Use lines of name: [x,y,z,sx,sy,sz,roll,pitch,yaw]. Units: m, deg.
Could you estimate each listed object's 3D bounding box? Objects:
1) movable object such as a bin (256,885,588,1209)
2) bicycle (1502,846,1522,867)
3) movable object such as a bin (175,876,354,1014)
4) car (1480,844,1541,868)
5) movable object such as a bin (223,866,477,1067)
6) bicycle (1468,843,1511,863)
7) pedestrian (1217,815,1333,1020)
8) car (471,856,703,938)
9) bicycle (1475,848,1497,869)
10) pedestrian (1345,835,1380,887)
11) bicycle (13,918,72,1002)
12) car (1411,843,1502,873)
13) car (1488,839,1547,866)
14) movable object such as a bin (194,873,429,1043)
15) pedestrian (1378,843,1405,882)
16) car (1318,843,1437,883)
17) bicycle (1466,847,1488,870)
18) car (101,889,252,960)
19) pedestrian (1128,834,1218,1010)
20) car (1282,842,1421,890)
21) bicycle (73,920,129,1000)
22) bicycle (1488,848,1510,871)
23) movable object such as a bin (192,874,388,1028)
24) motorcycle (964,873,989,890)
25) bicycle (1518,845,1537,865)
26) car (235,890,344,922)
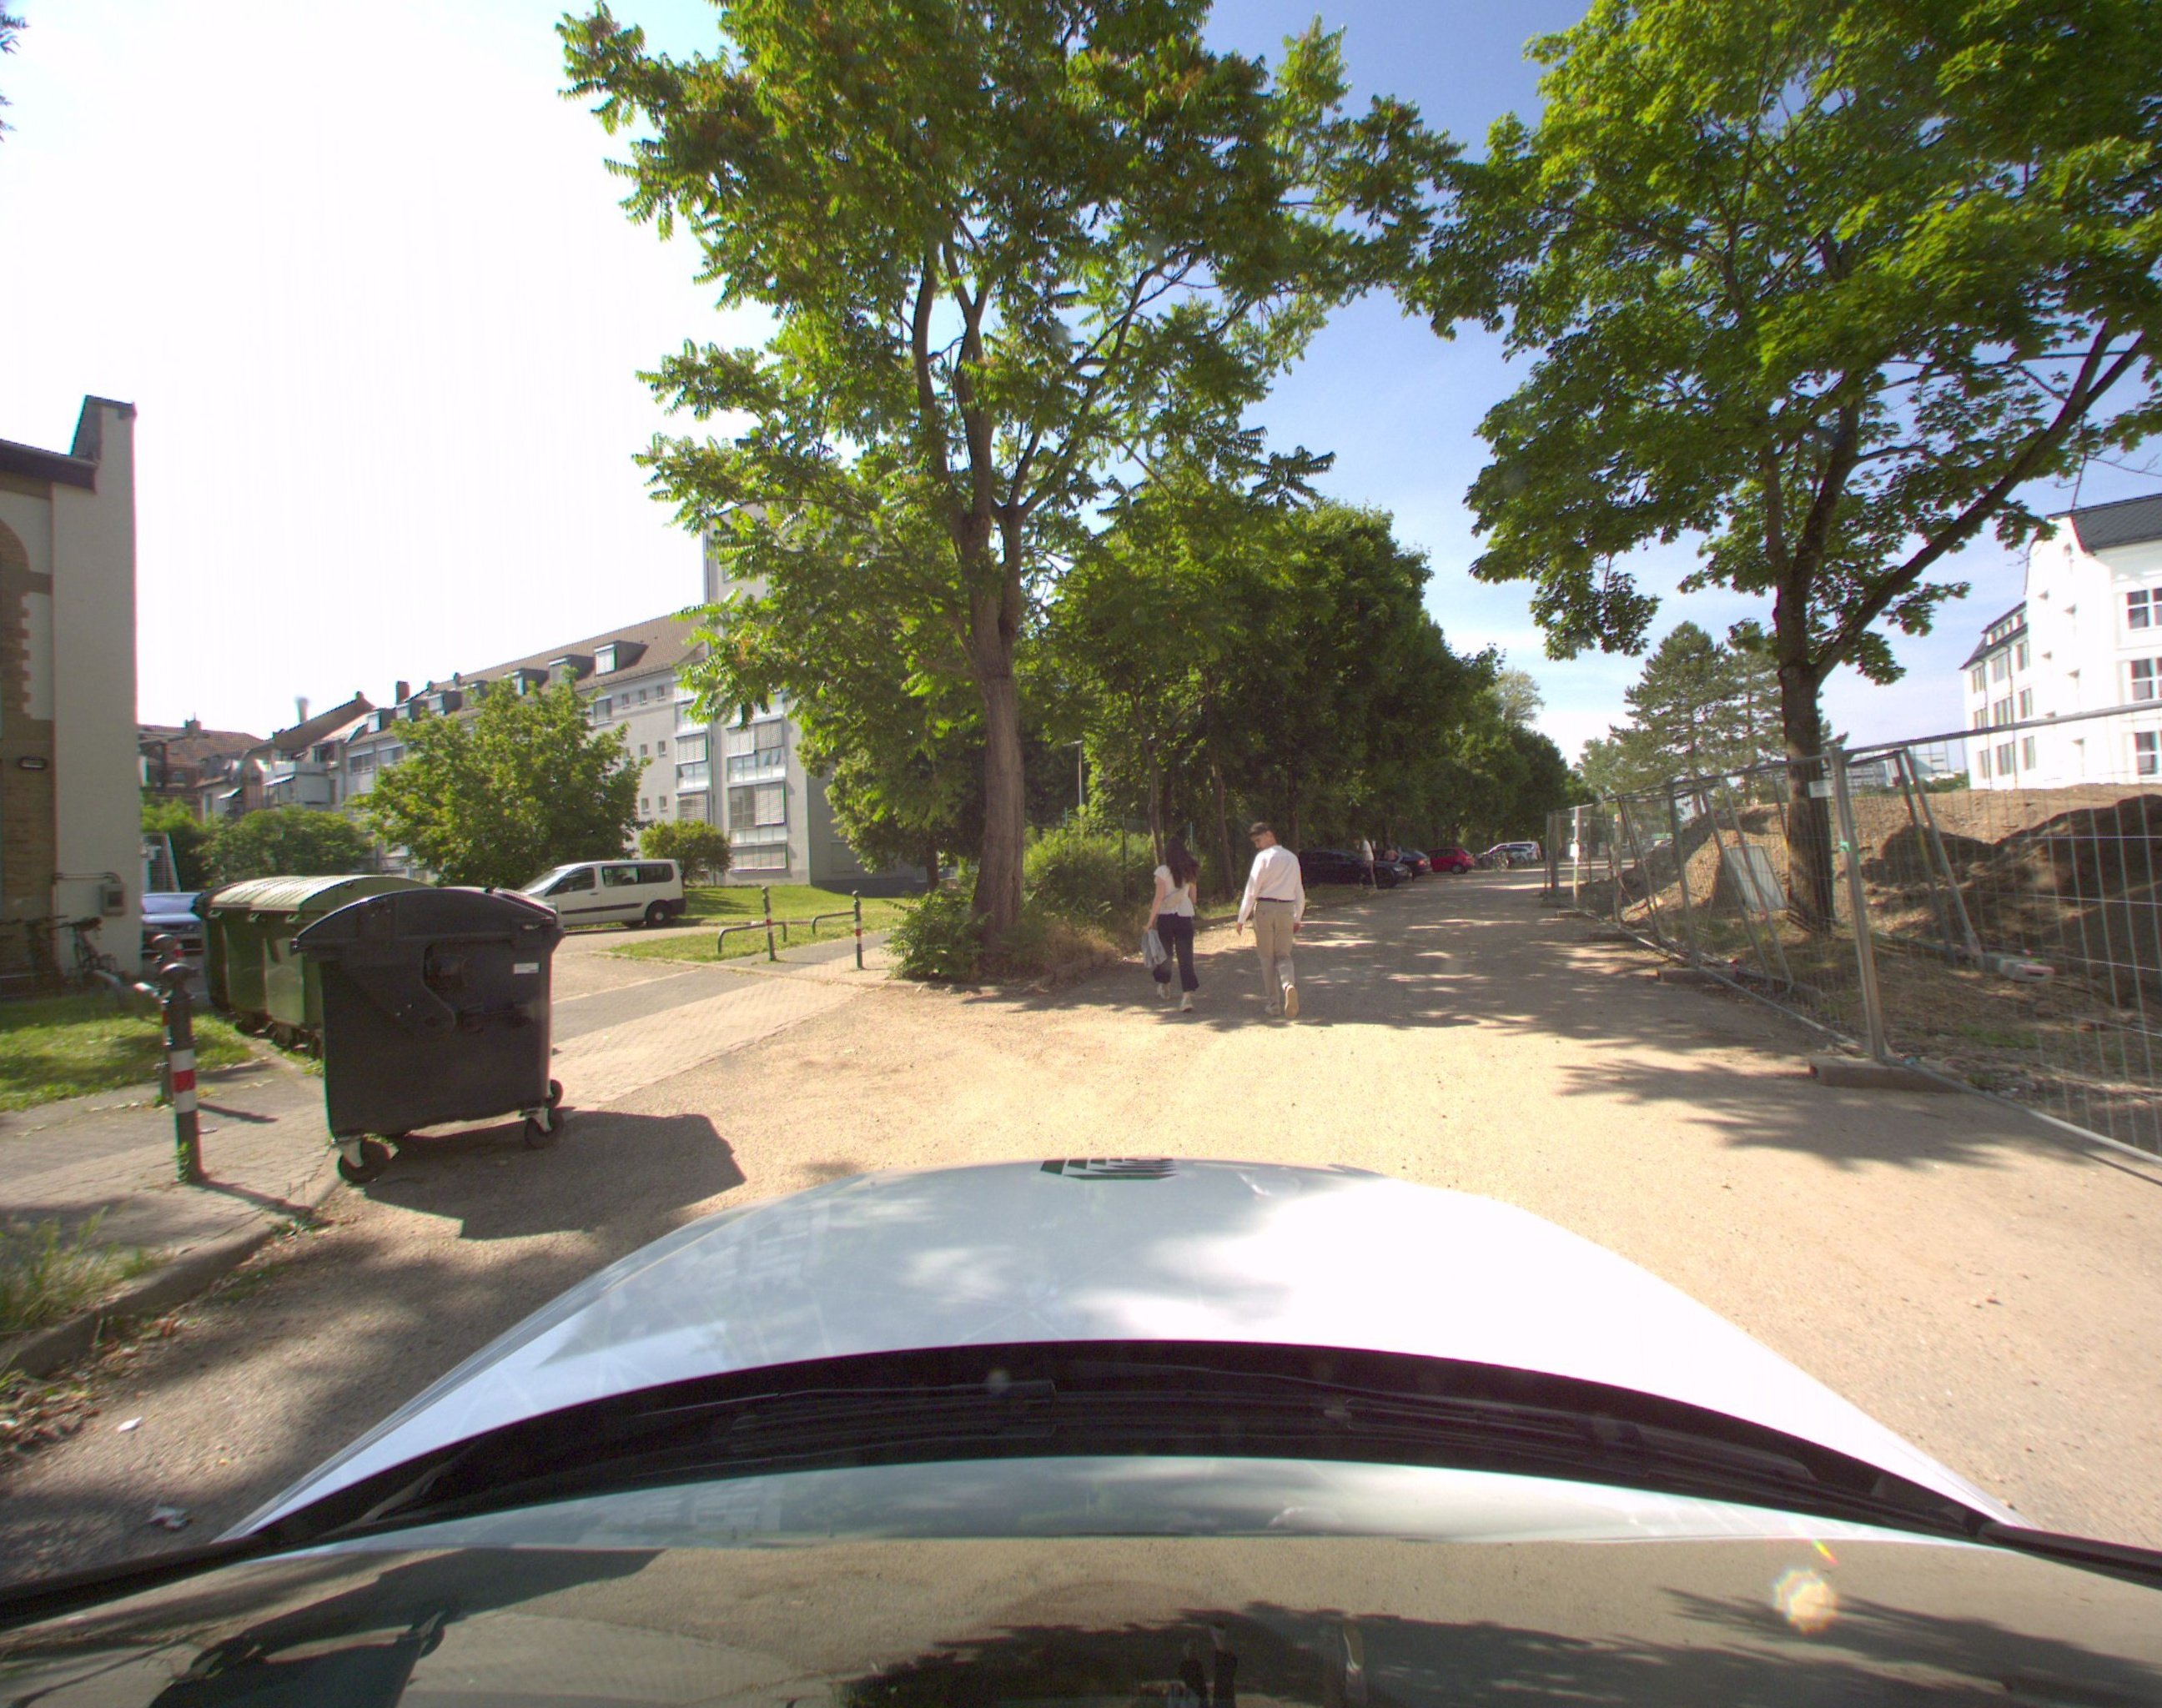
movable object such as a bin: [-3.613,0.908,4.617,1.254,1.397,1.388,-2,-1,-36]
bicycle: [26.983,0.157,50.969,0.707,1.284,2.654,-2,0,35]
movable object such as a bin: [-9.630,1.015,9.619,1.332,1.431,1.256,-3,-1,35]
car: [33.478,0.148,63.526,3.948,1.772,1.779,-2,0,38]
movable object such as a bin: [-6.267,0.879,7.020,1.322,1.481,1.256,-3,-1,30]
bicycle: [28.909,-0.073,57.611,2.649,1.284,0.824,-2,-1,29]
pedestrian: [1.738,0.541,7.428,0.753,1.728,0.853,-2,0,-5]
car: [-13.486,1.085,22.558,1.974,1.933,5.073,-3,-1,37]
bicycle: [26.318,0.284,52.930,0.808,1.284,2.701,-2,0,35]
pedestrian: [9.918,0.250,28.658,1.004,1.781,0.825,-2,-1,27]
bicycle: [-14.159,1.409,11.121,1.609,0.992,0.449,-2,1,39]
car: [20.687,0.235,44.946,4.244,1.524,1.904,-2,0,34]
car: [35.317,-0.126,65.920,3.948,2.013,1.779,-2,0,38]
movable object such as a bin: [-7.377,0.933,7.854,1.208,1.431,1.255,-3,-1,25]
pedestrian: [12.964,0.358,34.016,0.916,1.595,0.791,-2,0,27]
car: [12.982,0.383,35.657,4.612,1.584,2.012,-2,1,27]
bicycle: [23.765,0.269,48.855,0.707,1.284,2.809,-2,0,35]
car: [-21.243,1.654,19.084,4.372,1.442,1.854,-5,-4,35]
pedestrian: [0.898,0.641,8.126,0.733,1.640,0.780,-2,0,-2]
car: [10.103,0.451,30.446,4.612,1.584,2.012,-2,1,27]
bicycle: [-13.912,1.471,11.550,1.521,0.992,0.449,-2,1,39]
bicycle: [24.317,0.289,47.342,0.707,1.284,2.701,-2,0,35]
movable object such as a bin: [-8.447,0.968,8.710,1.348,1.431,1.256,-3,-1,35]
motorcycle: [-8.086,2.124,63.125,0.622,1.246,2.076,-2,-1,37]
bicycle: [31.359,0.061,57.217,0.808,1.284,2.764,-2,0,35]
car: [-47.039,3.039,48.461,1.974,1.532,4.270,-2,1,33]
